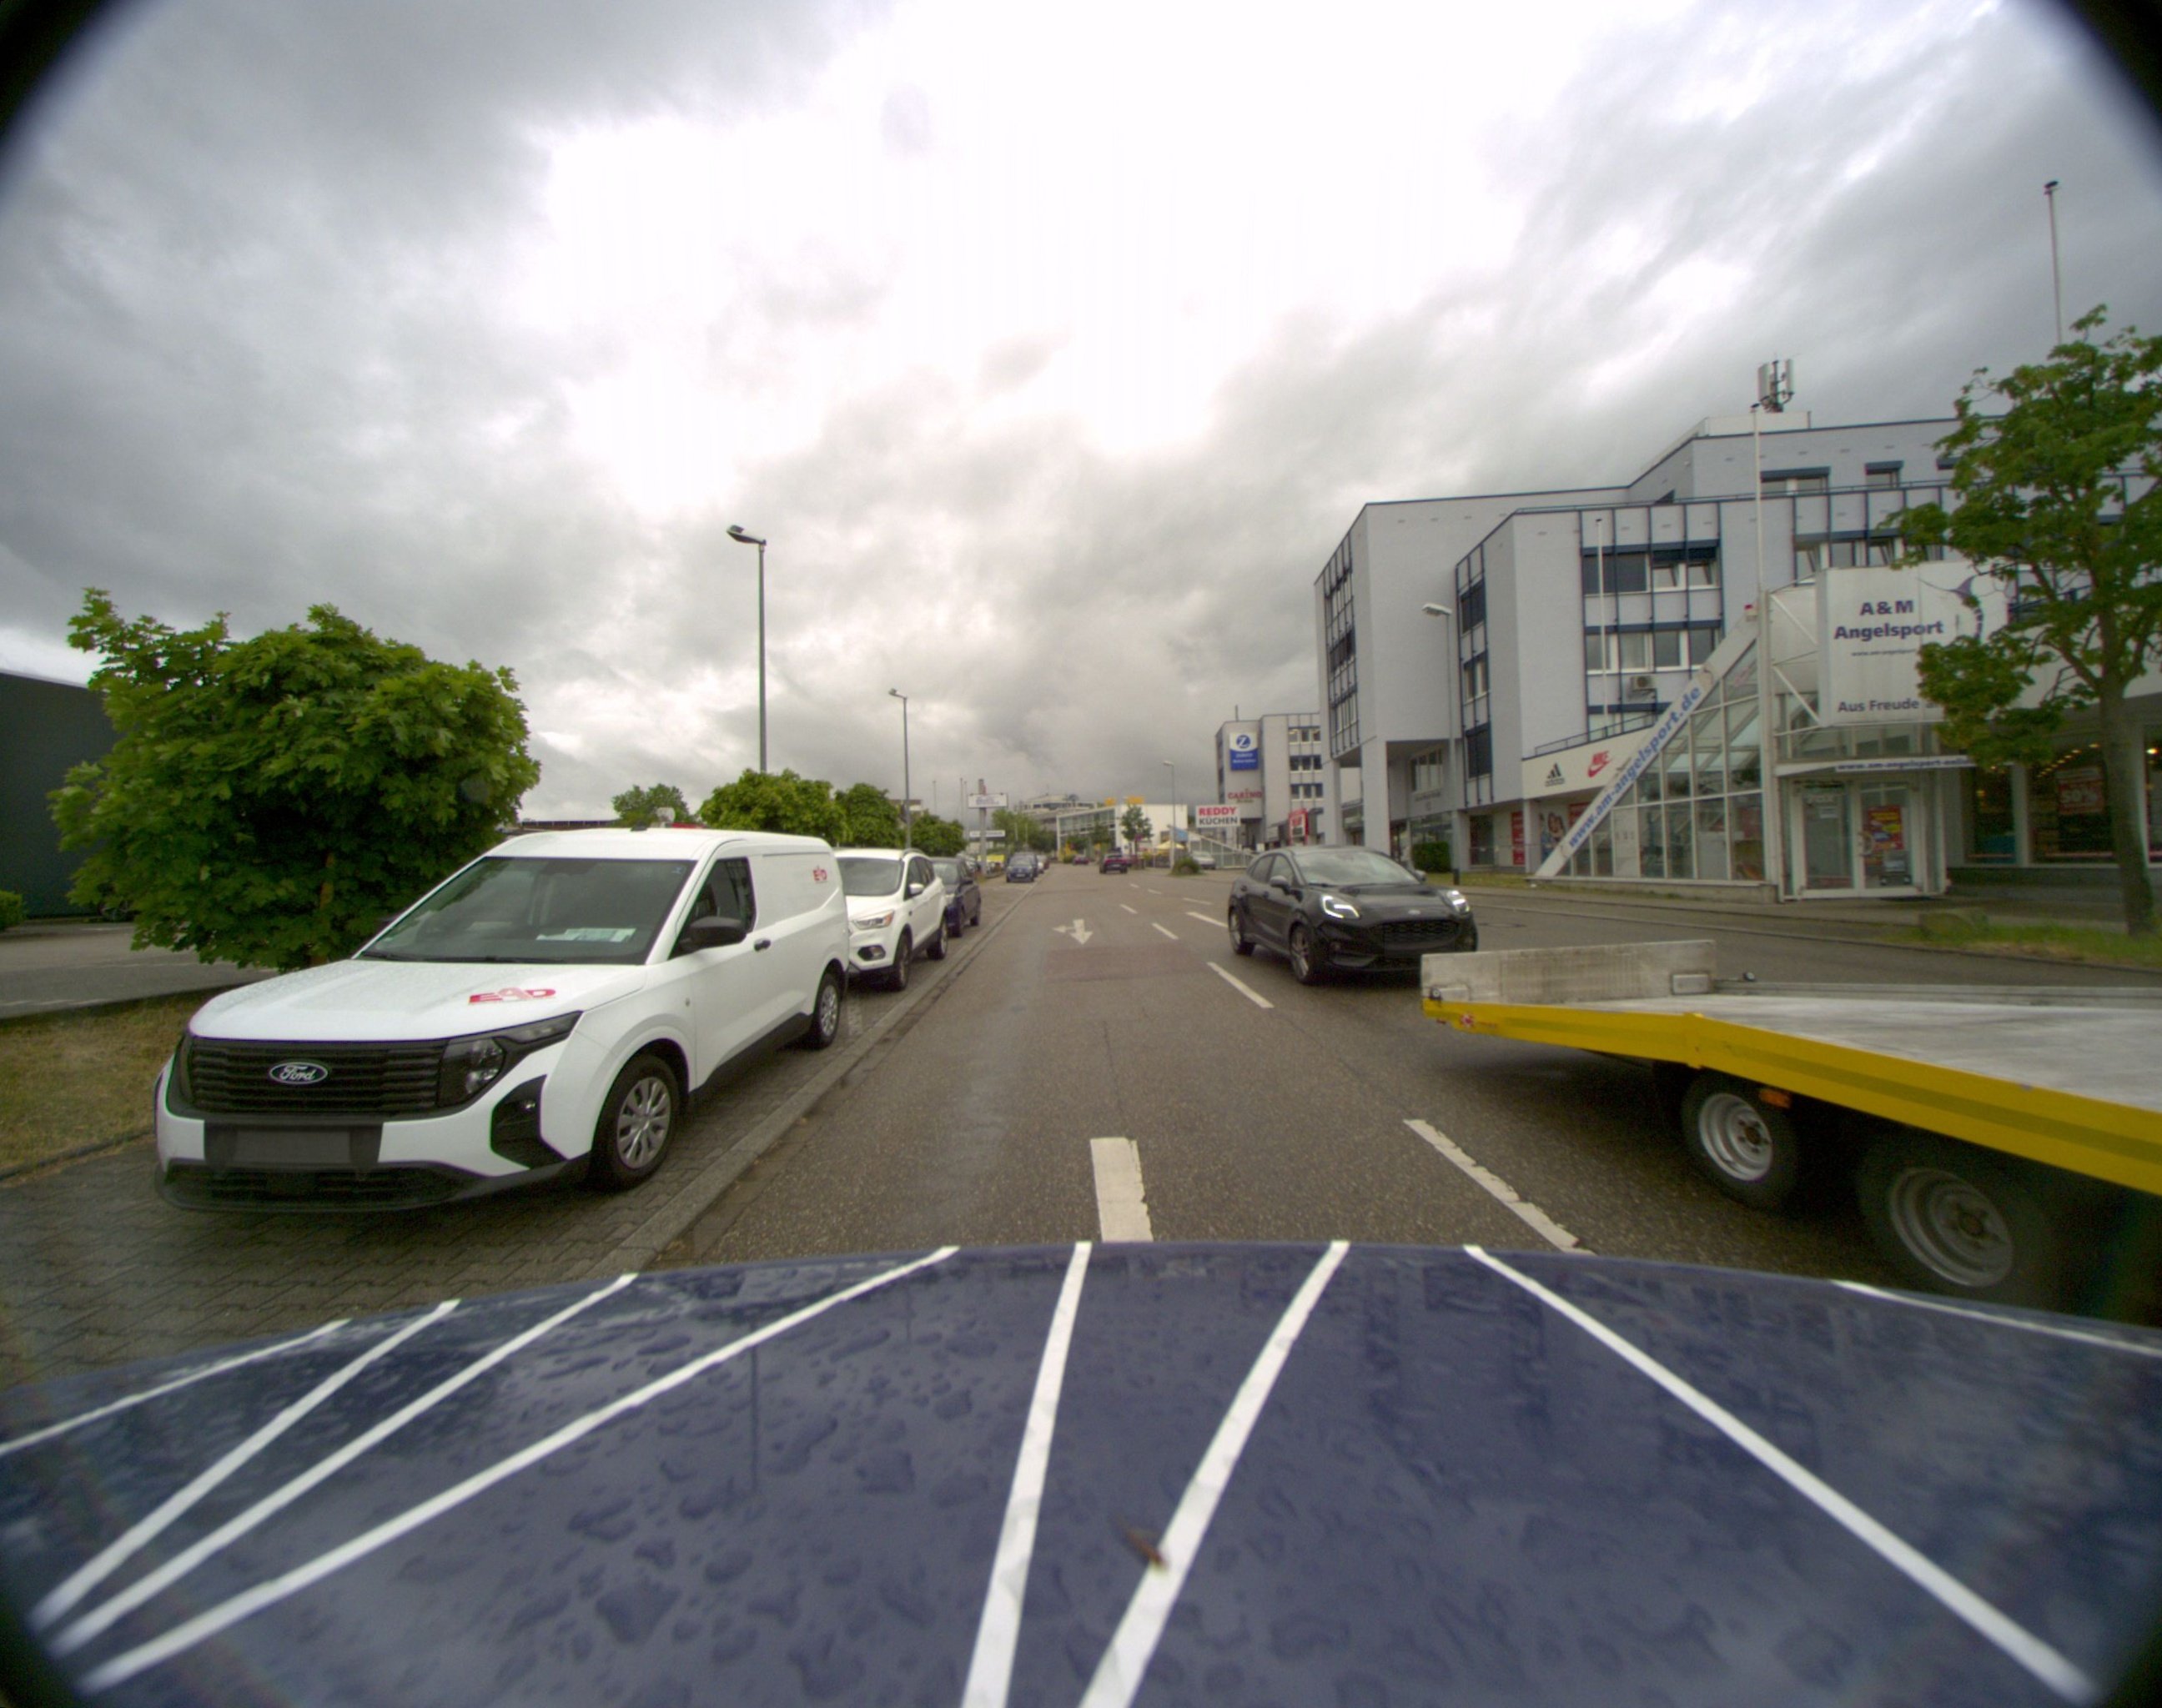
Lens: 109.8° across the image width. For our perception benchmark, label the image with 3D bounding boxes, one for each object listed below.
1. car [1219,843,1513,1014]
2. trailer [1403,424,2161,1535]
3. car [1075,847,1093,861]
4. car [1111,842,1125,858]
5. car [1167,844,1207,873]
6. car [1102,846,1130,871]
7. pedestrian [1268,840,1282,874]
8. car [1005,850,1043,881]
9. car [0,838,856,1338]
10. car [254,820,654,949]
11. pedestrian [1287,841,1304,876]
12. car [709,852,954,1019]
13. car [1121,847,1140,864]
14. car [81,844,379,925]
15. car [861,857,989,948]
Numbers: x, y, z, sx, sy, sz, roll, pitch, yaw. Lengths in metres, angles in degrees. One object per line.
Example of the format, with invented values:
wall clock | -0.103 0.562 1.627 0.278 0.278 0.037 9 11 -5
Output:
car | 3.099 0.699 9.262 1.814 1.531 3.998 -3 0 -4
trailer | 3.545 0.269 1.479 2.309 2.460 7.968 -1 1 -1
car | 0.399 -0.002 102.035 1.765 1.755 3.682 -2 1 -9
car | 4.627 -0.508 95.154 1.567 1.807 3.906 -2 1 1
car | 6.494 0.275 46.892 1.822 1.601 4.000 -3 0 1
car | 2.603 0.325 57.272 1.901 1.755 3.999 -2 1 1
pedestrian | 9.842 0.159 38.594 0.550 1.698 0.519 -2 1 2
car | -3.344 0.669 45.308 1.822 1.698 4.000 -2 1 1
car | -2.971 0.816 4.822 1.797 1.773 4.248 0 1 0
car | -9.547 0.418 11.929 4.501 1.730 1.892 -2 1 -4
pedestrian | 10.991 0.226 38.921 0.644 1.733 0.589 -1 1 33
car | -2.987 0.860 10.075 1.822 1.698 4.000 -2 1 1
car | 5.227 0.141 80.217 1.801 1.663 3.668 -2 1 1
car | -20.330 0.680 18.360 4.741 1.730 1.891 -2 1 -4
car | -3.152 0.916 16.198 1.822 1.589 4.000 -2 1 1
